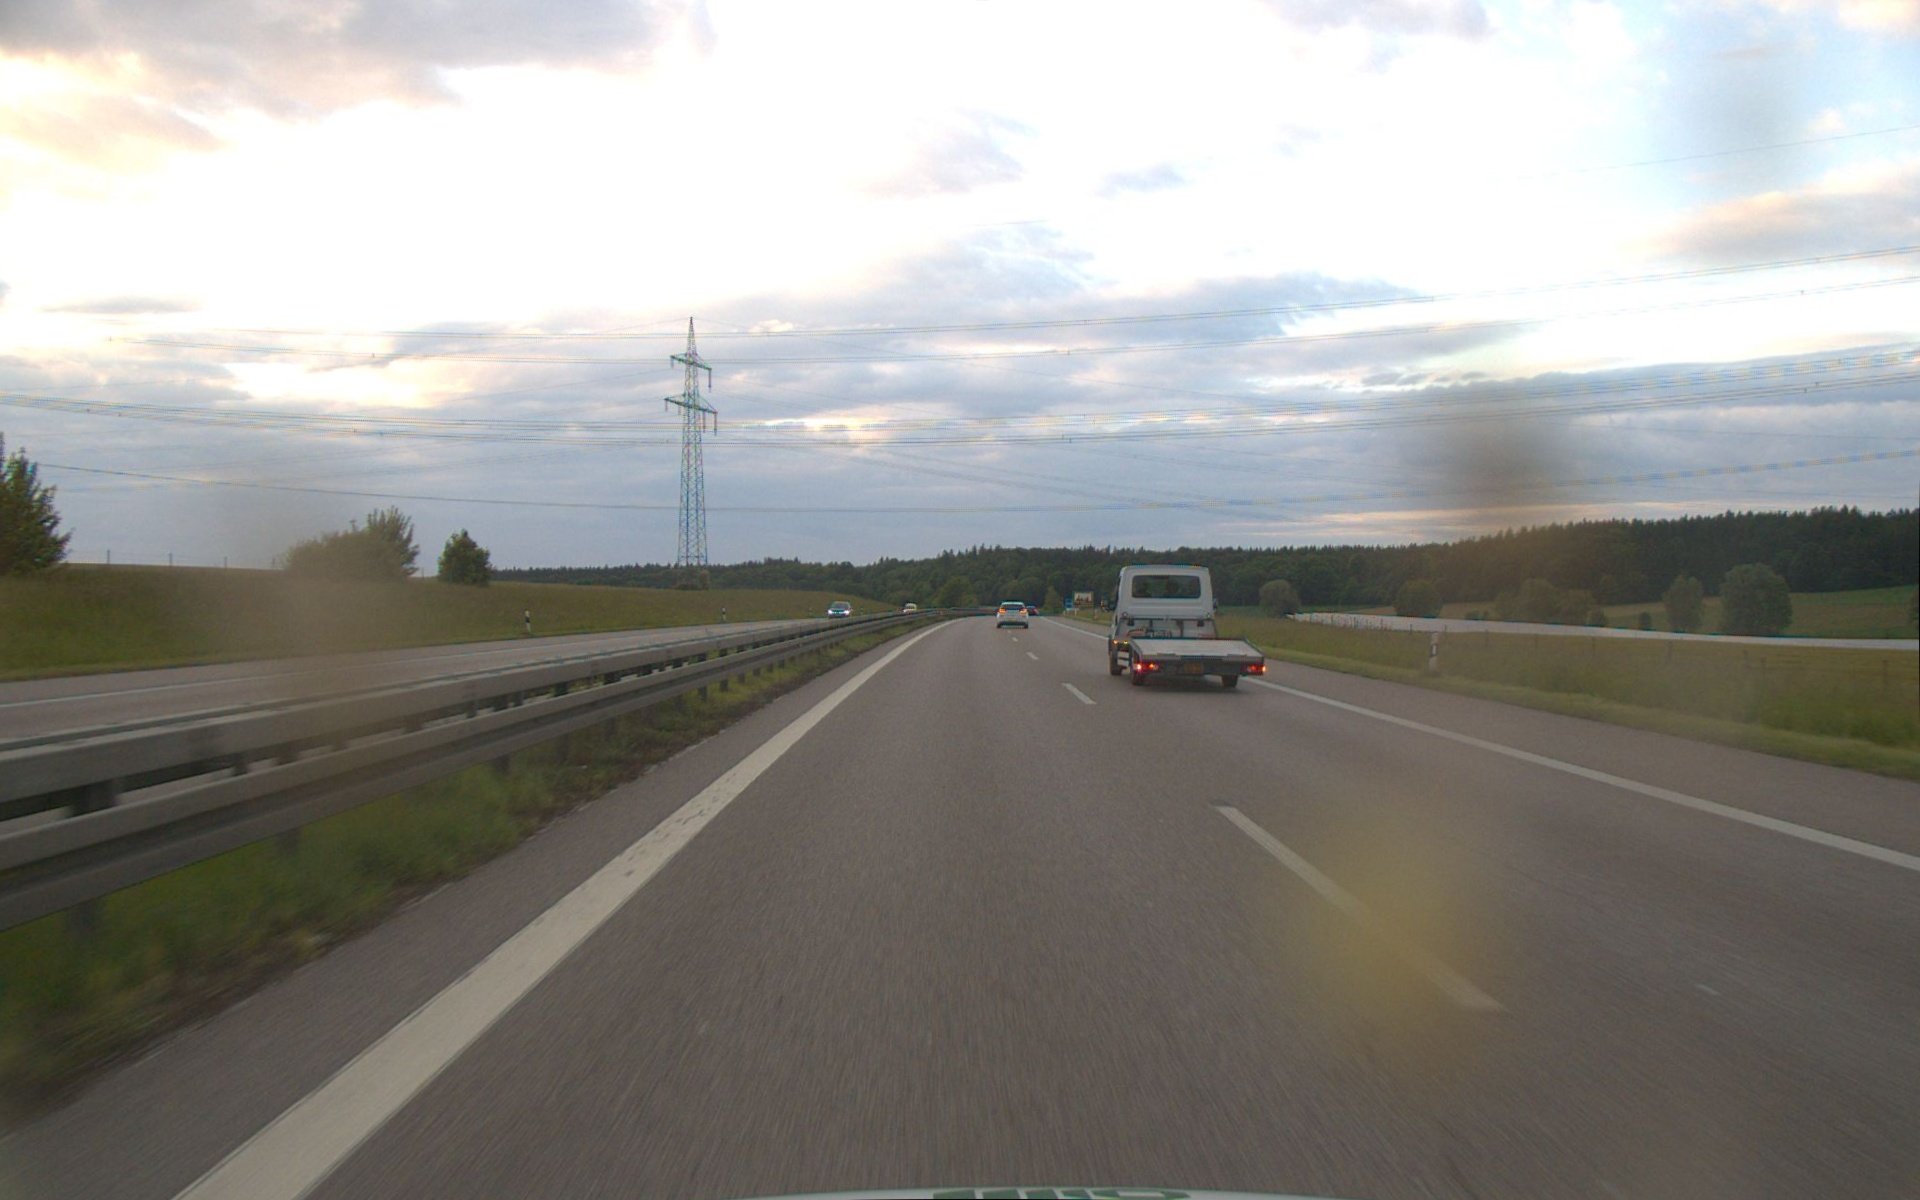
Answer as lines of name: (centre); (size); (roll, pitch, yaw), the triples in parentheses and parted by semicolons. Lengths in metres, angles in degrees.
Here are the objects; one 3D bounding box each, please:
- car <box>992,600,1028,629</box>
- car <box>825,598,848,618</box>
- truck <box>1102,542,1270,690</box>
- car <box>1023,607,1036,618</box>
car: (2.822, 0.808, 93.592); (1.911, 1.558, 4.081); (1, 0, 1)
car: (-10.581, 0.701, 142.161); (1.663, 1.693, 4.462); (1, 0, -1)
truck: (4.075, 0.278, 31.247); (2.127, 2.401, 7.696); (1, 0, 0)
car: (10.692, 1.910, 254.343); (1.911, 1.761, 4.081); (1, 0, 1)
